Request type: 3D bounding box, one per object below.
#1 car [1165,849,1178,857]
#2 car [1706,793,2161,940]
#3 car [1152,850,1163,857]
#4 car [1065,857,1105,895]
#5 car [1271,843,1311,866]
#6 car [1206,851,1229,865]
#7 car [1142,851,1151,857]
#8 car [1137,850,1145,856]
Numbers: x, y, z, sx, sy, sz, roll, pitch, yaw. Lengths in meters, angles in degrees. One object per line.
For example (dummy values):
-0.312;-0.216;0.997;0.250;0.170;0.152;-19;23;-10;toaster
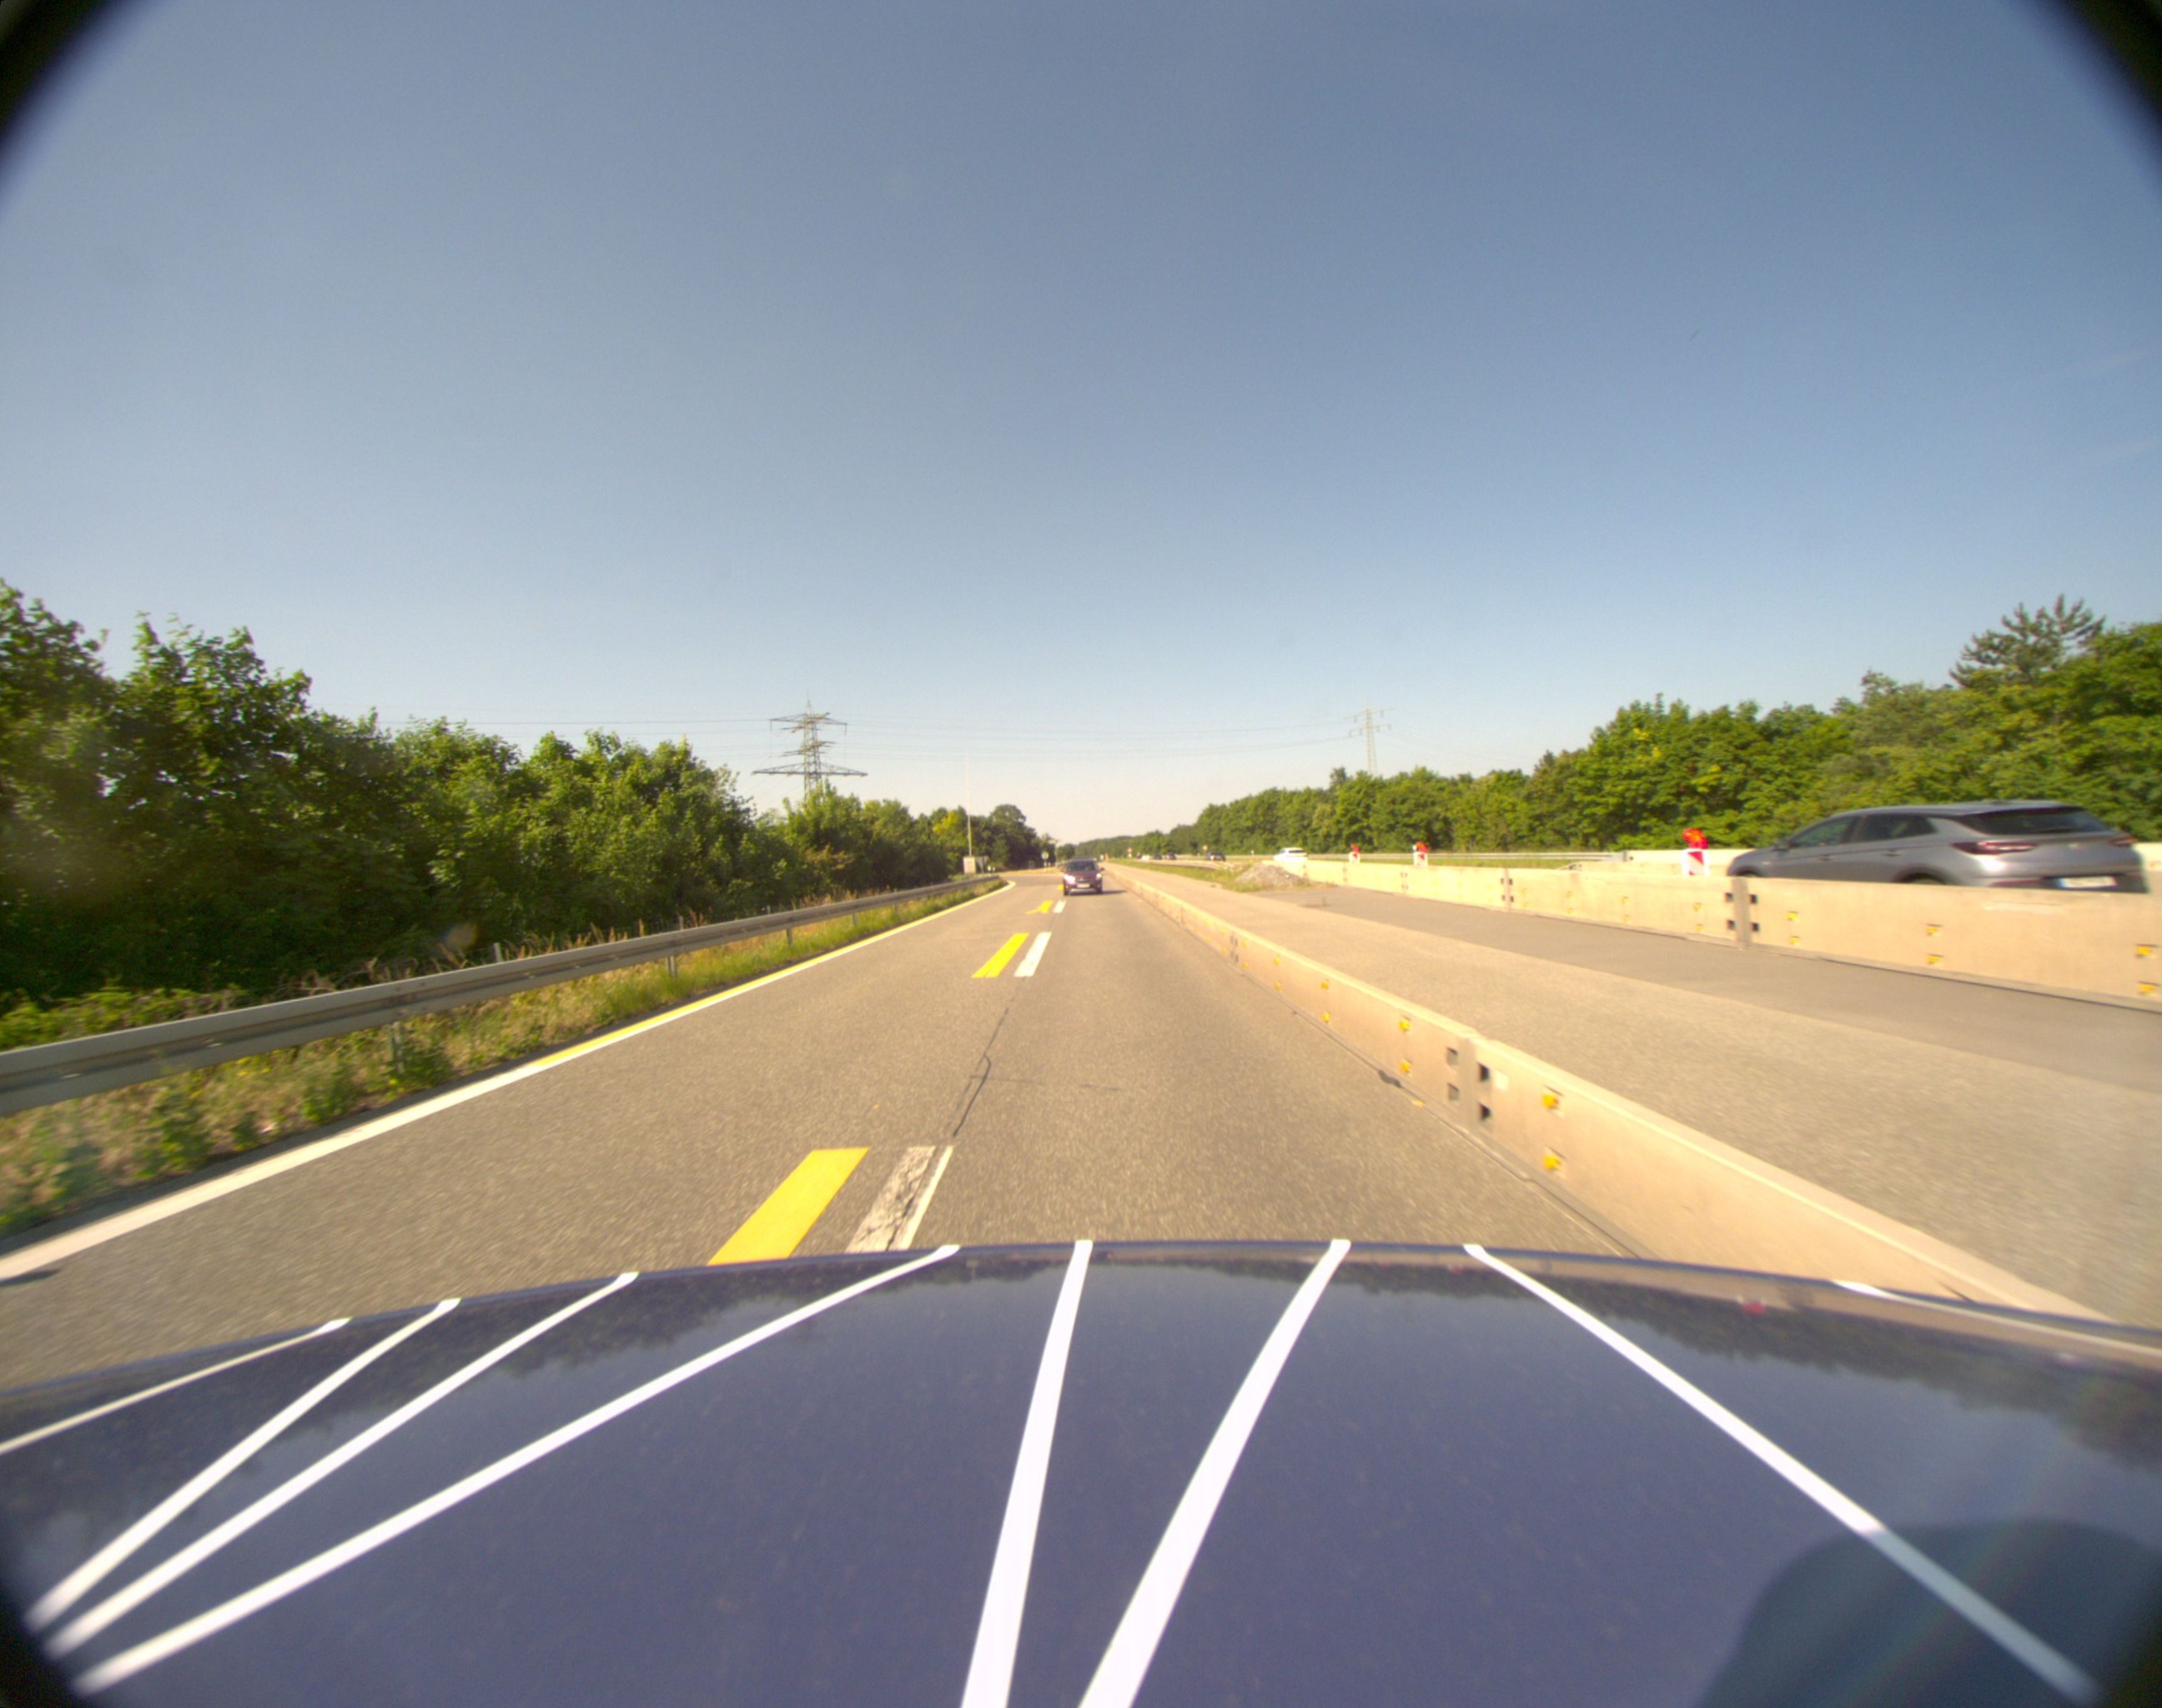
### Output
17.215;-0.119;144.457;1.801;1.426;4.592;-3;0;0;car
11.278;0.120;10.360;1.998;1.507;4.582;-3;0;6;car
16.268;-0.115;161.557;1.820;1.479;5.023;-1;0;1;car
0.228;0.915;32.912;1.587;1.491;4.416;-2;-1;2;car
15.542;0.014;56.515;1.822;1.598;4.439;-2;0;2;car
15.242;0.429;85.044;1.844;1.432;4.813;-2;0;1;car
16.980;-0.065;197.652;1.764;1.462;4.794;-4;0;0;car
17.043;-0.204;216.420;1.743;1.485;4.109;-3;0;0;car
